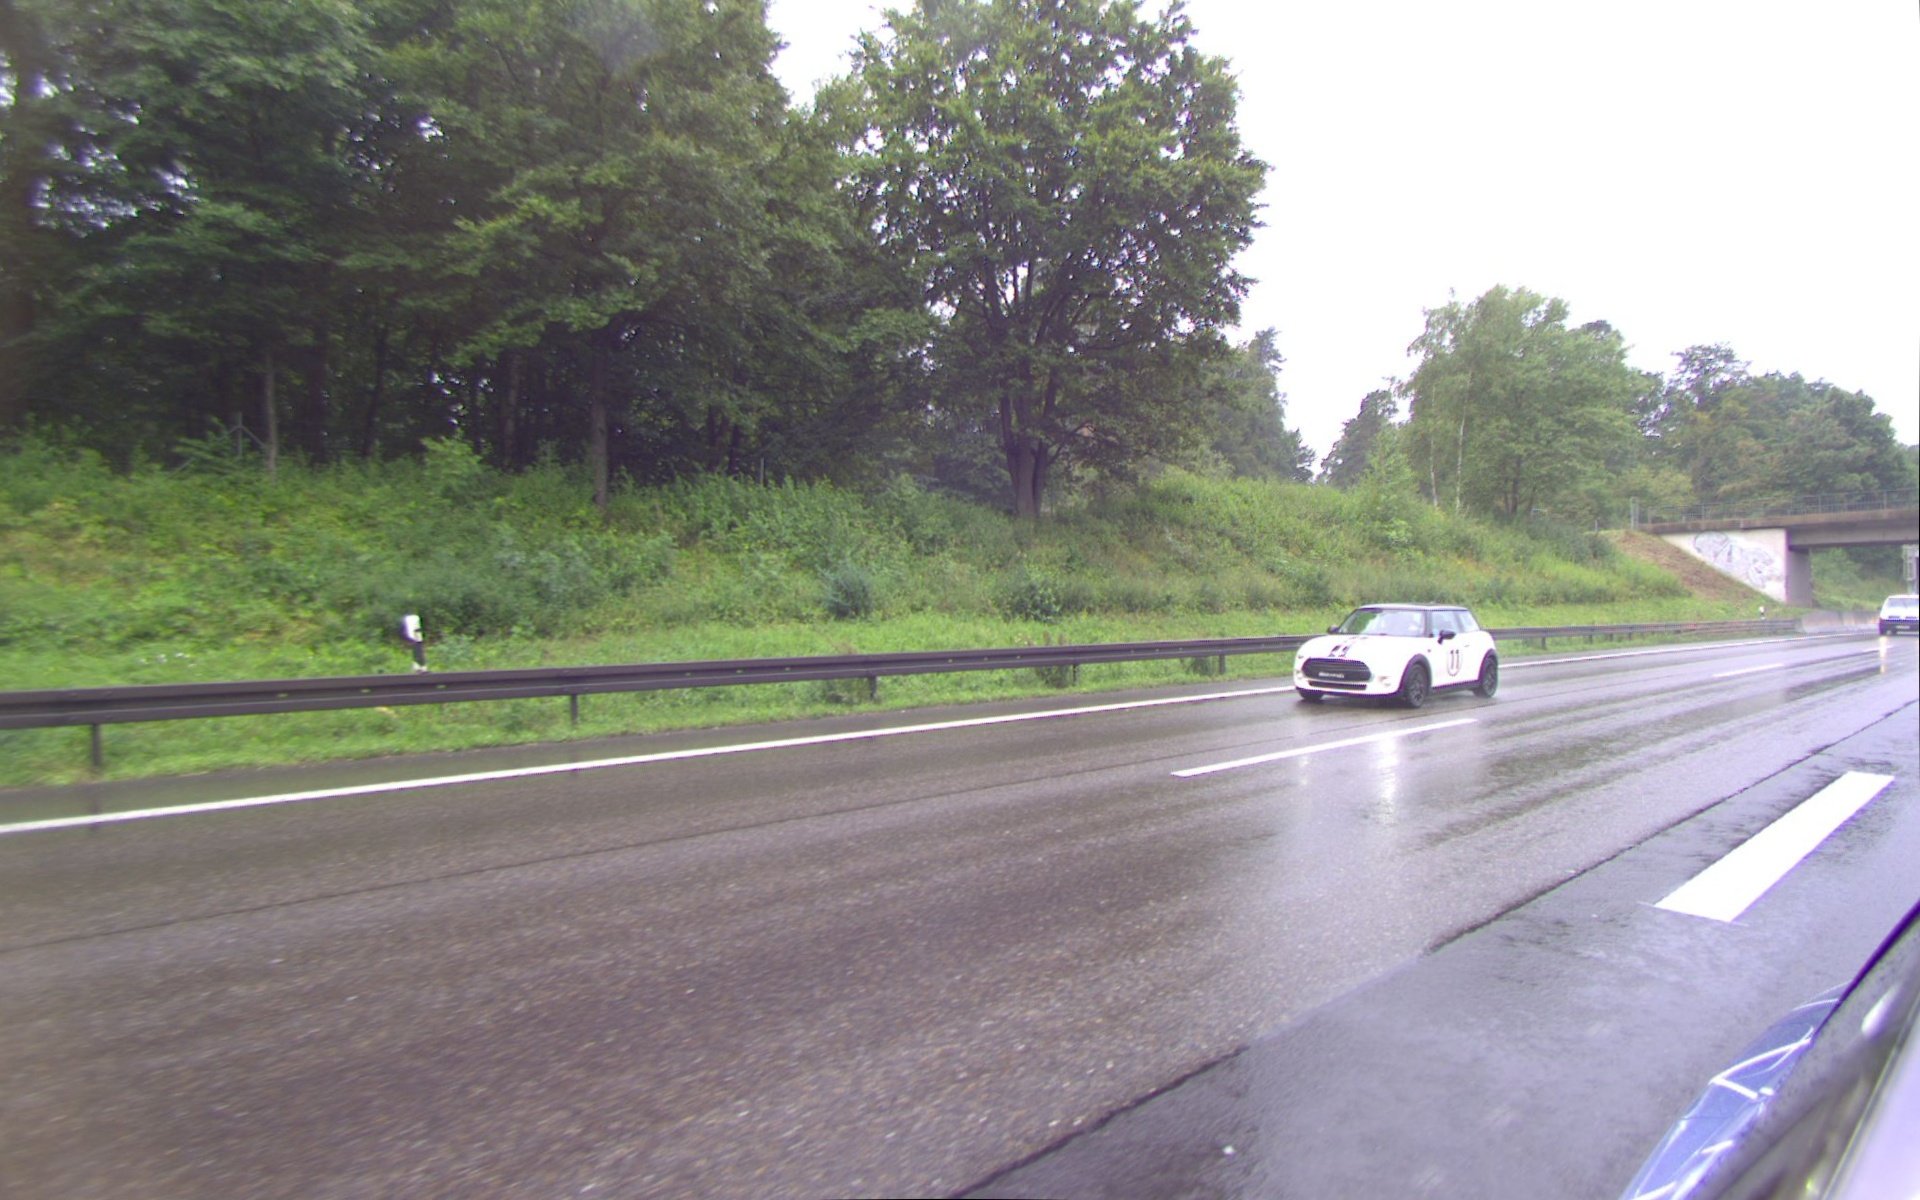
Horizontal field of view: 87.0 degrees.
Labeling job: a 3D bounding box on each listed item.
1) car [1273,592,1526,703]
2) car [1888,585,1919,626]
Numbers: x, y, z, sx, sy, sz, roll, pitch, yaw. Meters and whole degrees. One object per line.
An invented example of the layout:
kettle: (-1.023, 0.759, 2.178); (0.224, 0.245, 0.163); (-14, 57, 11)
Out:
car: (6.643, 0.609, 15.105); (4.152, 1.425, 1.794); (0, 0, -40)
car: (46.867, 0.261, 49.176); (4.682, 1.945, 1.994); (0, 0, -40)
